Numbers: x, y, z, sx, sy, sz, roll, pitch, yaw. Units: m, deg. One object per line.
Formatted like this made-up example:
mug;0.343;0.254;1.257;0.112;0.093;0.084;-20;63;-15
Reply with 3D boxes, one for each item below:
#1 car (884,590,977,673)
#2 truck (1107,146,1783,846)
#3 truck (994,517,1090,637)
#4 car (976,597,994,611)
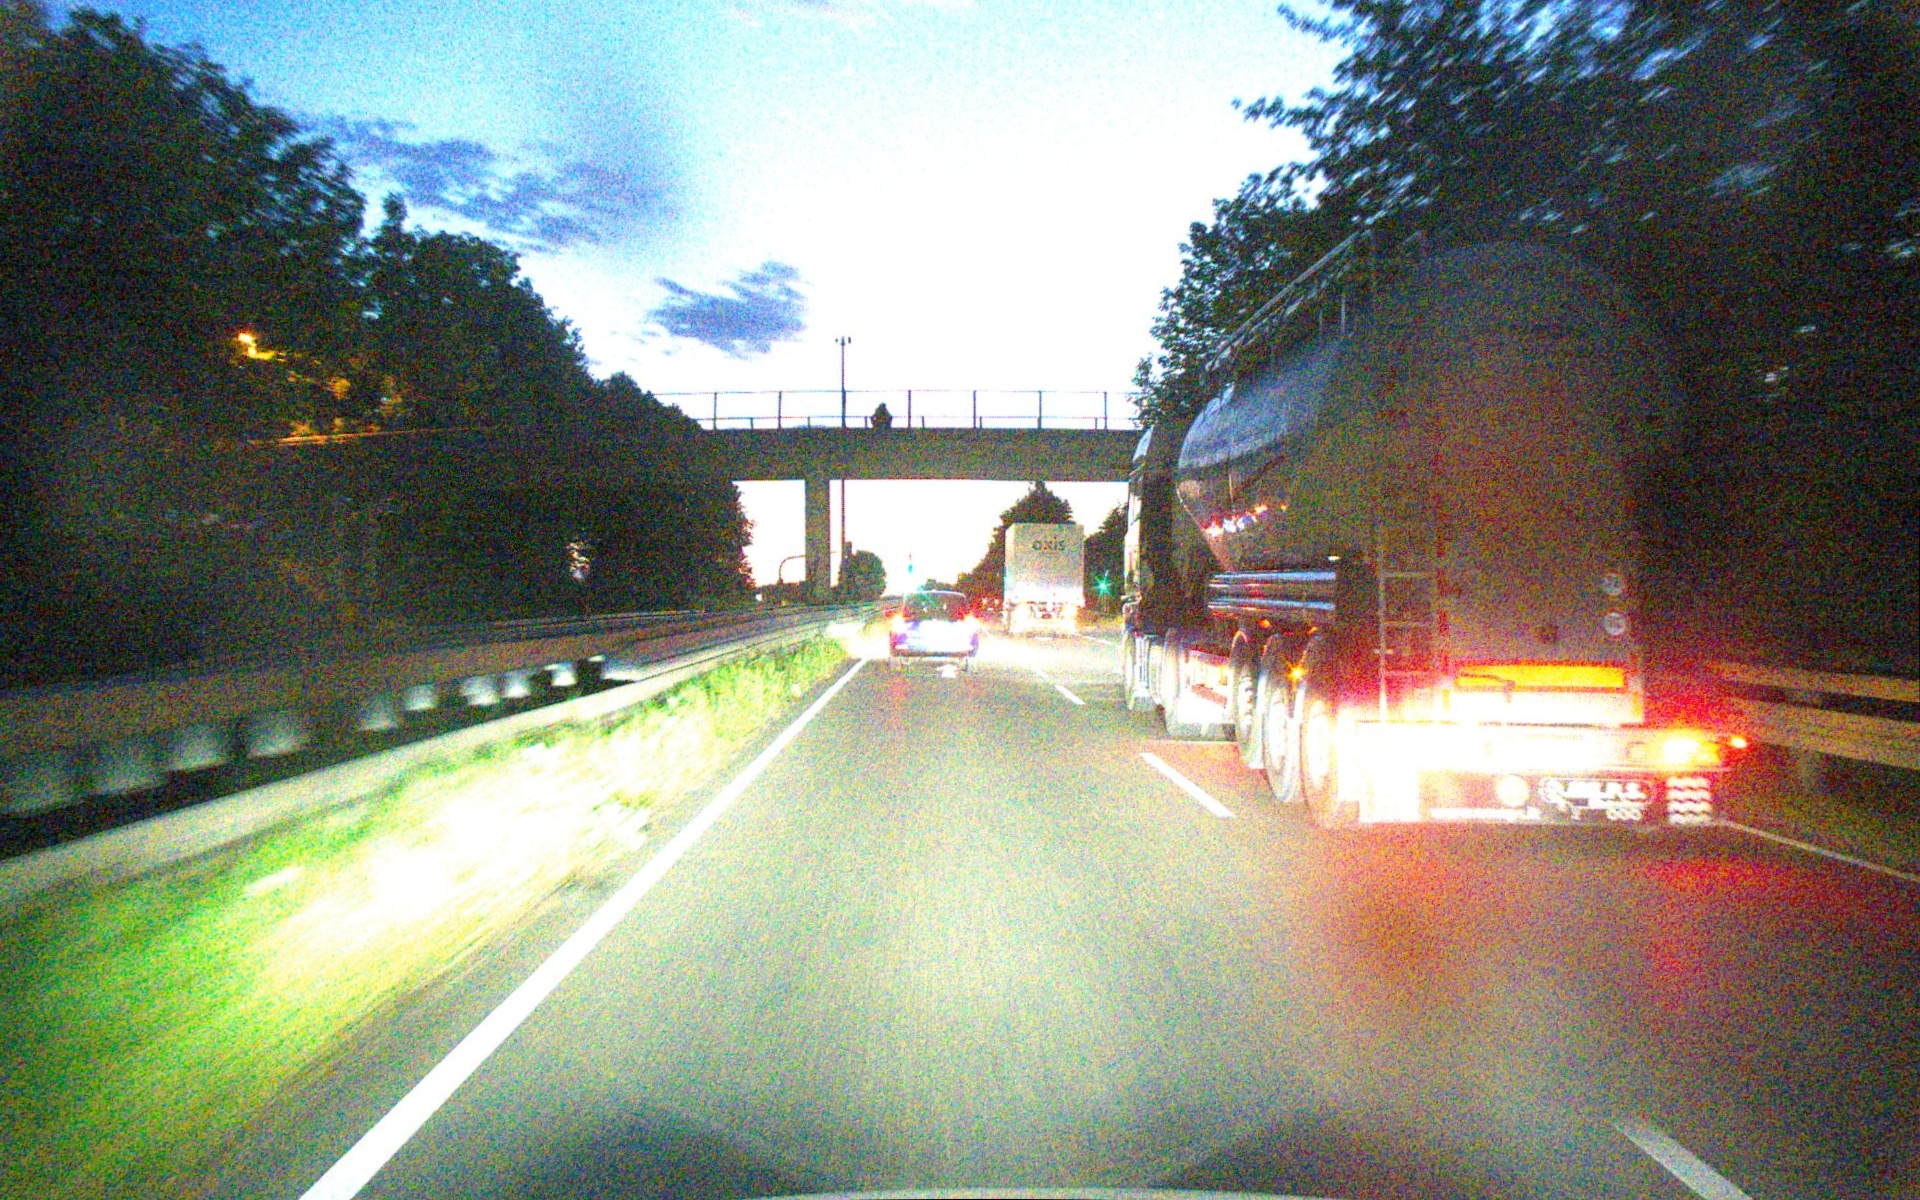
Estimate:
car;-0.565;0.567;31.726;1.661;1.478;3.913;1;0;-1
truck;3.515;-0.614;16.533;2.633;4.178;13.138;1;0;-1
truck;2.999;-0.799;64.507;2.824;4.178;12.680;1;0;-1
car;2.569;0.417;169.676;1.661;1.478;3.913;1;0;-1
